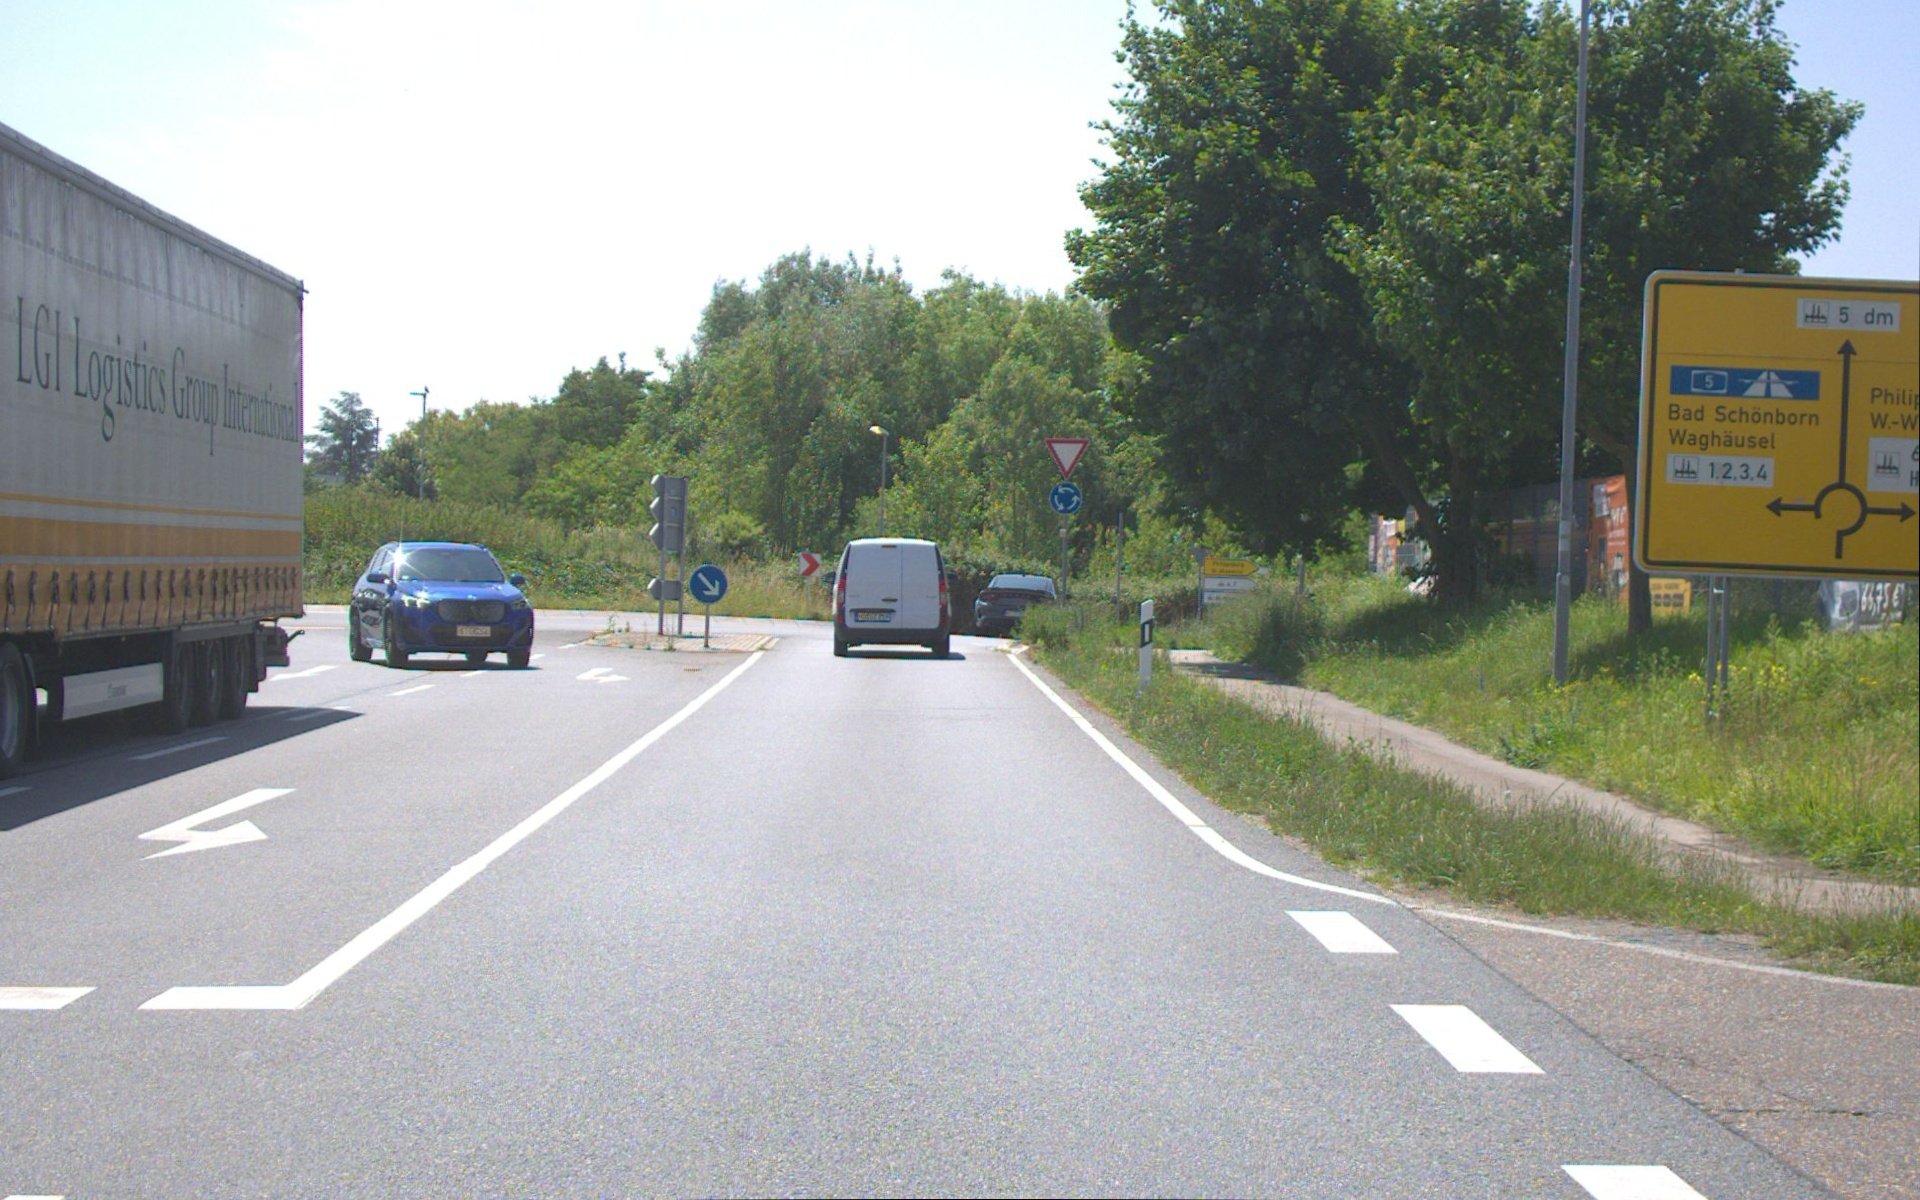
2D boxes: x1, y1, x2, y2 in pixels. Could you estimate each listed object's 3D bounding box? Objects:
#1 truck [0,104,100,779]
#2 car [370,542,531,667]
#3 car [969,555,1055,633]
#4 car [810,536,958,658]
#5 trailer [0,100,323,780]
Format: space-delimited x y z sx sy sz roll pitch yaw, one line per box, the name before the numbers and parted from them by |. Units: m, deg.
truck | -7.124 -0.964 19.541 2.790 4.042 6.754 3 1 -2
car | -6.793 0.031 45.514 1.846 1.562 4.001 0 1 -12
car | 1.171 -0.156 78.421 1.805 1.550 4.001 2 2 -1
car | -1.202 -0.062 52.561 1.903 1.726 3.823 2 0 -6
trailer | -7.331 -1.117 26.018 2.790 4.042 13.504 3 1 -2
